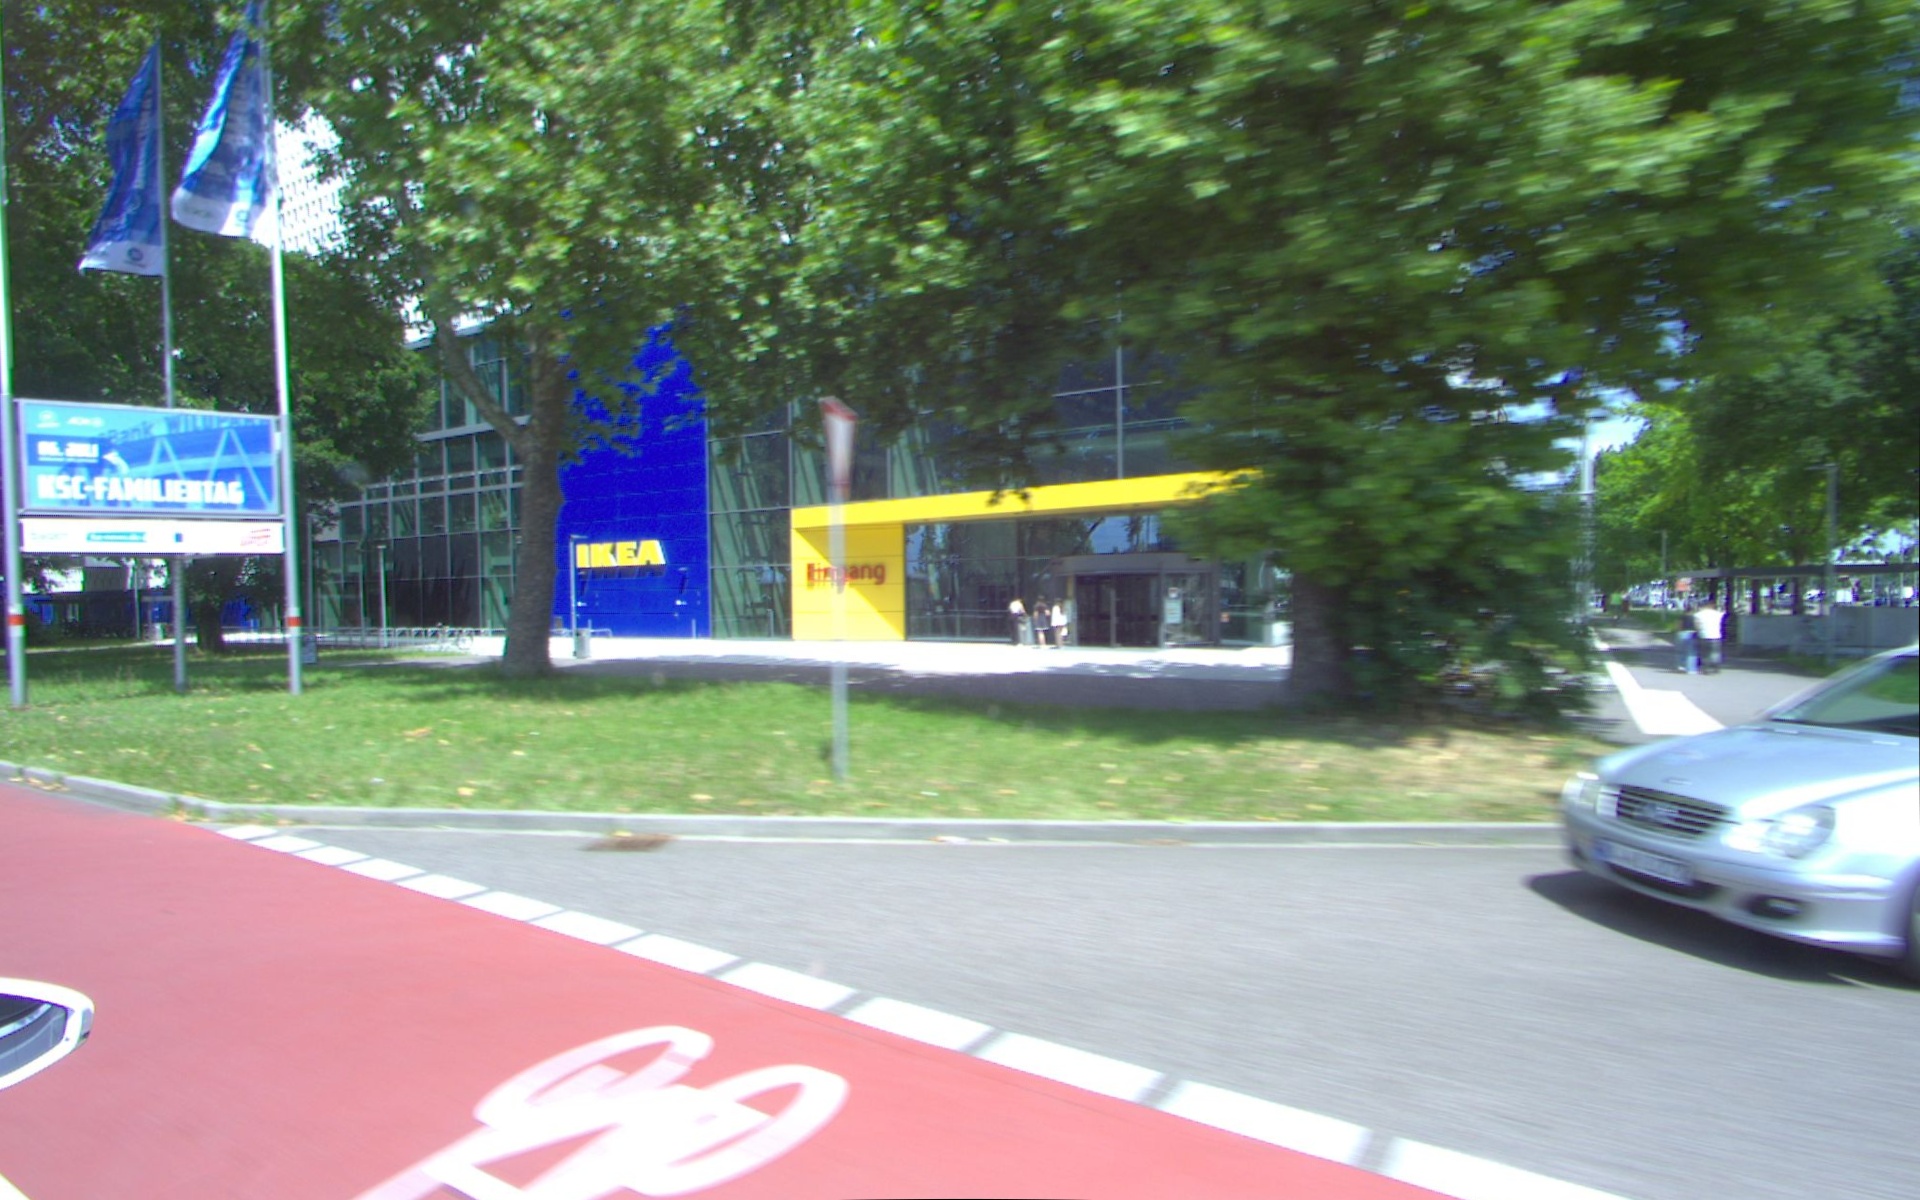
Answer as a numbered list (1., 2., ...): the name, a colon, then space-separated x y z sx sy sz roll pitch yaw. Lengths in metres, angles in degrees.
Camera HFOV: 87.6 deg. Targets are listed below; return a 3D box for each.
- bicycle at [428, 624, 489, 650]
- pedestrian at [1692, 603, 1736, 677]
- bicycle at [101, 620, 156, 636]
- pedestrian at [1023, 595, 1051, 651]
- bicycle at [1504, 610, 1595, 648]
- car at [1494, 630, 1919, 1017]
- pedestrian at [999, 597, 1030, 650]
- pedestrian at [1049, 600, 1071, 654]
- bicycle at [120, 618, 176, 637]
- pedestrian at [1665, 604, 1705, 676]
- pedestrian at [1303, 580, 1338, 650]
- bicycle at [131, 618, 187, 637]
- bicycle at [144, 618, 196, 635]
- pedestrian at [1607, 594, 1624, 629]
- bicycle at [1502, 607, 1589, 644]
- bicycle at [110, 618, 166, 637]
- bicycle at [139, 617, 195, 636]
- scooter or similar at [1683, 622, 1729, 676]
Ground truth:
1. bicycle: -20.104 1.458 40.164 0.855 0.981 2.058 -1 0 28
2. pedestrian: 16.705 0.865 22.198 0.623 1.607 0.917 0 0 27
3. bicycle: -51.483 1.718 62.016 0.747 0.983 2.544 0 -1 27
4. pedestrian: 2.456 0.716 31.941 0.727 1.758 0.782 0 0 15
5. bicycle: 19.007 0.927 32.334 2.390 1.214 0.801 -1 0 19
6. car: 5.159 0.871 4.940 4.239 1.436 1.732 0 -1 -8
7. pedestrian: 1.849 0.801 33.915 0.772 1.758 0.737 0 0 33
8. pedestrian: 3.161 0.860 31.734 0.575 1.694 0.608 0 0 -6
9. bicycle: -49.280 1.657 60.780 0.747 1.125 2.544 0 -1 27
10. pedestrian: 16.315 0.888 22.546 0.623 1.607 0.609 0 0 27
11. pedestrian: 10.714 0.436 29.785 0.725 2.040 0.792 0 0 44
12. bicycle: -48.282 1.653 60.367 0.747 1.125 2.544 0 -1 27
13. bicycle: -46.639 1.556 59.154 0.747 0.973 2.315 0 -1 27
14. pedestrian: 30.882 0.553 47.198 0.571 1.607 0.766 0 0 27
15. bicycle: 19.431 0.848 33.288 2.390 1.214 0.801 -1 0 19
16. bicycle: -50.391 1.687 61.403 0.747 1.125 2.544 0 -1 27
17. bicycle: -47.451 1.590 59.933 0.747 1.125 2.544 0 -1 27
18. scooter or similar: 17.180 1.115 23.089 0.718 1.214 1.072 -1 -1 30
